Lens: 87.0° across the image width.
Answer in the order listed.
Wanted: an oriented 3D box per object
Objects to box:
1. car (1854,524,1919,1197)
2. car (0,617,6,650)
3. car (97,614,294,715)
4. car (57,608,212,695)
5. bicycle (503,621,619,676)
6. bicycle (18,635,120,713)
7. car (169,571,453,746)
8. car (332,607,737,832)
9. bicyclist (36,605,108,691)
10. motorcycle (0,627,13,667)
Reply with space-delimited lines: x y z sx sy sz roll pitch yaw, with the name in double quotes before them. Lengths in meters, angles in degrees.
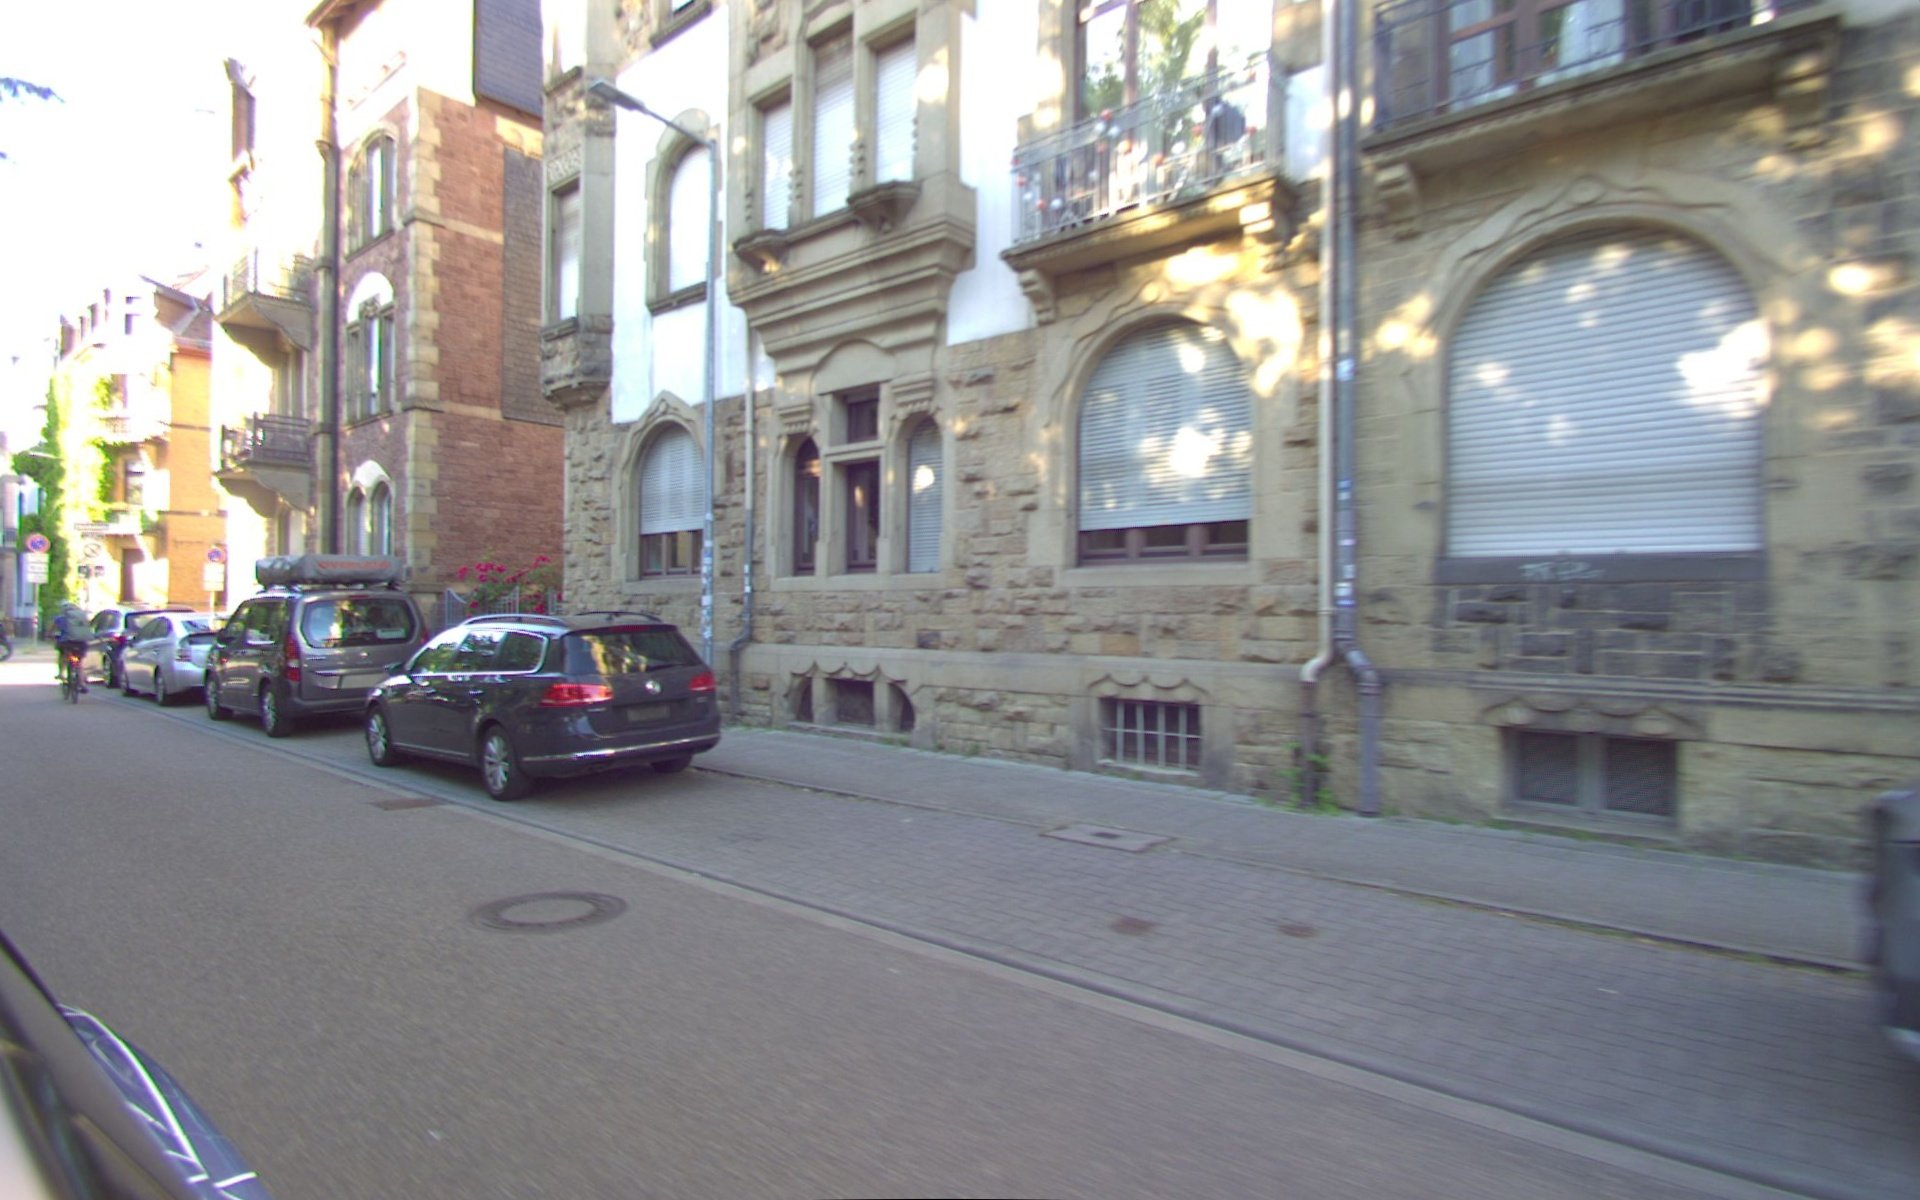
"car" 4.663 0.672 1.874 4.391 1.634 2.029 1 -1 39
"car" -43.387 1.485 44.280 4.922 1.415 1.858 -1 0 41
"car" -13.263 1.015 17.466 4.450 1.510 1.712 -1 -1 39
"car" -17.380 1.015 21.237 4.254 1.634 1.712 -1 -1 39
"bicycle" -8.311 1.000 21.205 0.608 1.087 2.332 -1 -2 33
"bicycle" -14.715 1.186 16.679 2.617 1.187 0.746 -1 -3 38
"car" -8.895 0.697 13.723 4.493 1.989 1.949 -1 -1 39
"car" -4.229 0.897 9.610 4.708 1.586 1.711 1 -1 42
"bicyclist" -14.589 0.783 16.623 1.058 1.355 0.658 -1 -3 38
"motorcycle" -28.083 1.333 28.167 2.481 1.110 0.987 1 -1 -43
